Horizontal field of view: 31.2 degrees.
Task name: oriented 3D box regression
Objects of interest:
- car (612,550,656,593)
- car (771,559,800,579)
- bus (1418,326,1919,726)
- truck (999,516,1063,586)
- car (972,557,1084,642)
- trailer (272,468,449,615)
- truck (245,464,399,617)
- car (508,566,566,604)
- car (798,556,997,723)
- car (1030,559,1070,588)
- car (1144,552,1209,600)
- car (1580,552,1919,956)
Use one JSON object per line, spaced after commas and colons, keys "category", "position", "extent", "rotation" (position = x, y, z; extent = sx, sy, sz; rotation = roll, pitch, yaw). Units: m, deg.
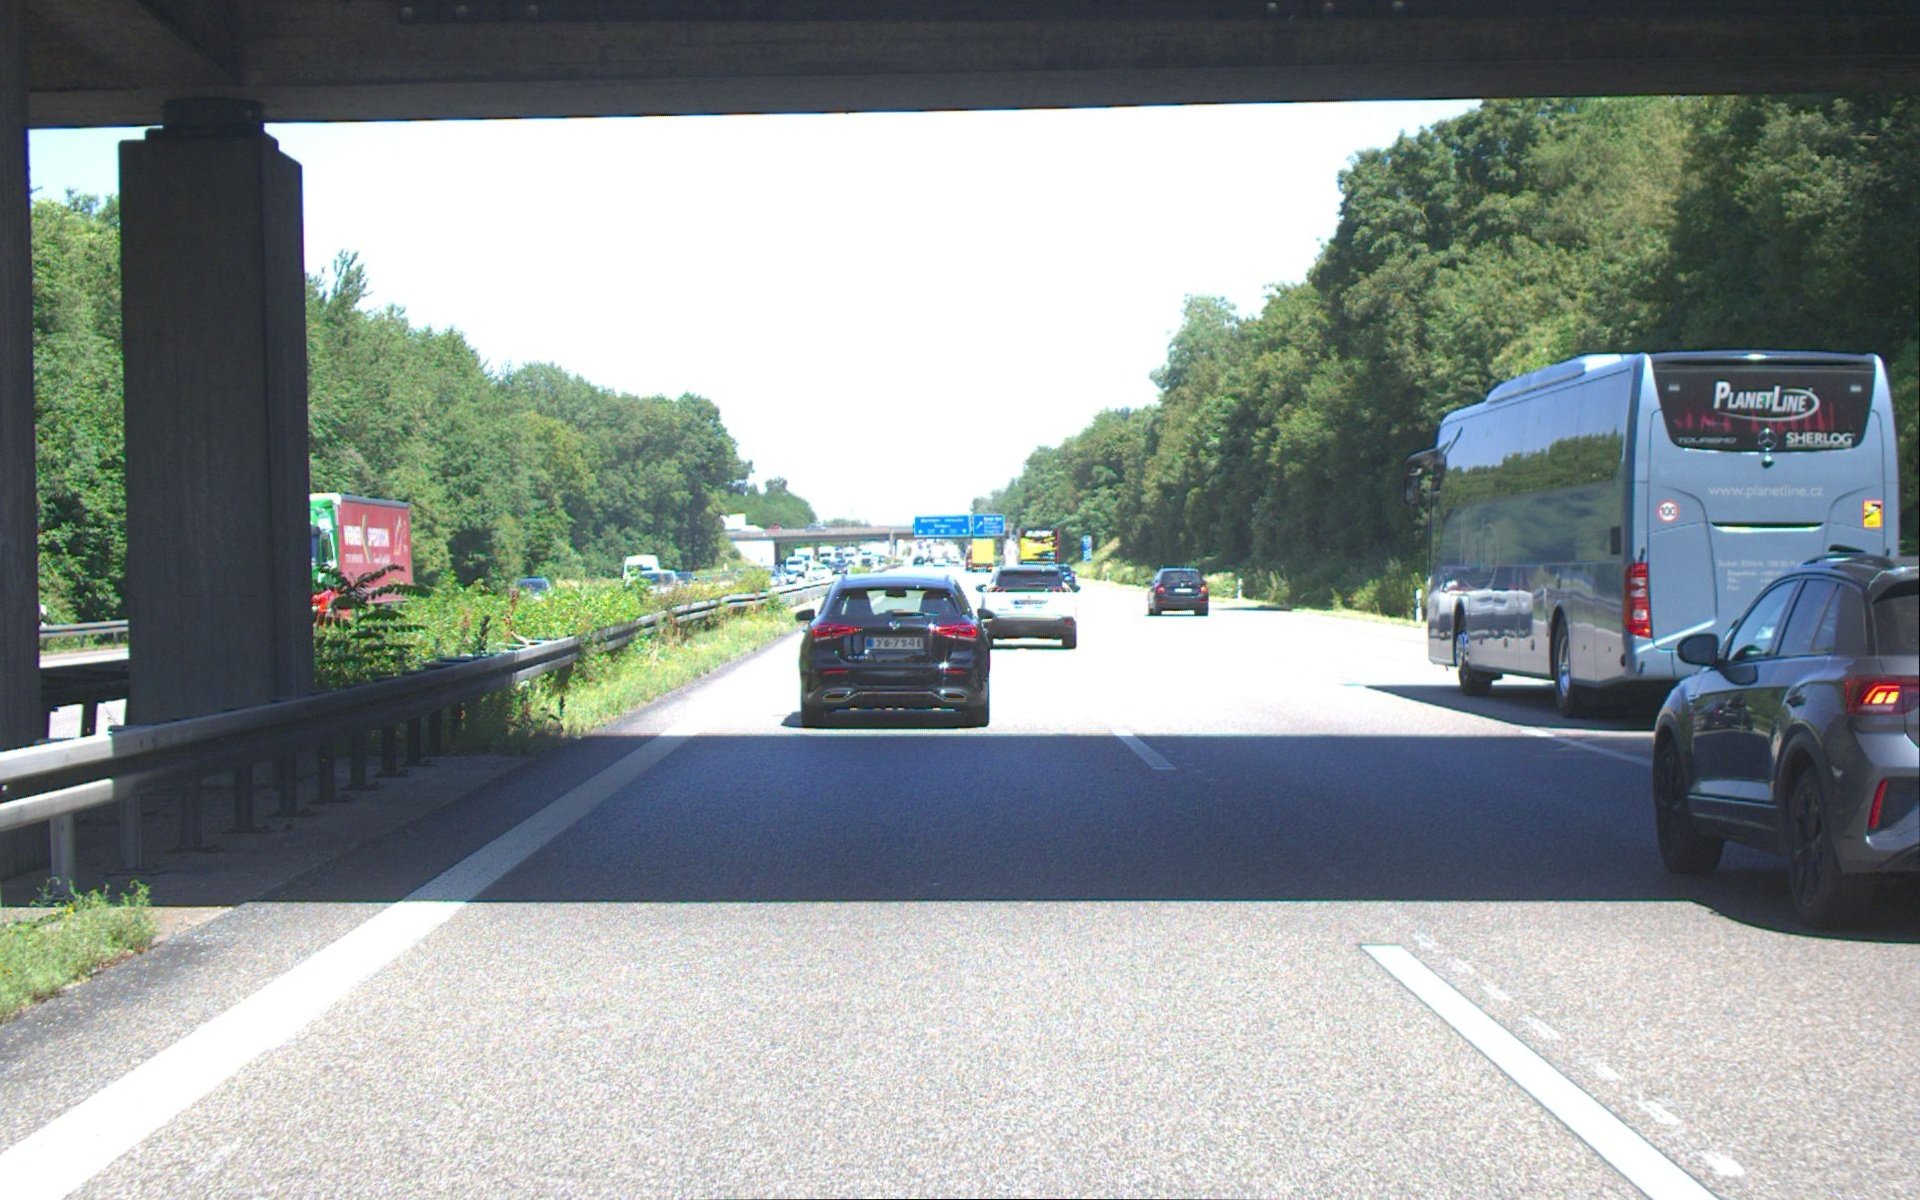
{"category": "car", "position": [-20.054, -1.764, 211.397], "extent": [2.087, 2.543, 6.228], "rotation": [-2, 1, -1]}
{"category": "car", "position": [-12.466, -2.214, 245.763], "extent": [1.838, 1.378, 4.428], "rotation": [-2, 1, -1]}
{"category": "bus", "position": [7.218, -0.740, 37.064], "extent": [2.802, 3.584, 12.475], "rotation": [0, 1, 0]}
{"category": "truck", "position": [4.805, -3.349, 236.589], "extent": [3.647, 4.574, 15.768], "rotation": [1, 1, -2]}
{"category": "car", "position": [1.241, -0.032, 64.316], "extent": [1.899, 1.527, 4.242], "rotation": [0, 1, -2]}
{"category": "trailer", "position": [-17.790, -1.719, 102.958], "extent": [3.217, 4.045, 12.743], "rotation": [-1, 1, -1]}
{"category": "truck", "position": [-17.655, -1.642, 95.443], "extent": [3.217, 4.045, 5.619], "rotation": [-1, 1, -1]}
{"category": "car", "position": [-17.272, -0.628, 140.511], "extent": [1.848, 1.445, 4.872], "rotation": [-2, 1, -2]}
{"category": "car", "position": [-0.620, 0.332, 33.208], "extent": [1.799, 1.497, 4.242], "rotation": [0, 1, -2]}
{"category": "car", "position": [4.895, -1.435, 187.463], "extent": [2.081, 1.527, 4.241], "rotation": [0, 1, 0]}
{"category": "car", "position": [6.667, -0.752, 106.121], "extent": [1.789, 1.456, 3.949], "rotation": [0, 1, 0]}
{"category": "car", "position": [4.234, 0.555, 15.504], "extent": [1.899, 1.527, 4.760], "rotation": [0, 1, -2]}
